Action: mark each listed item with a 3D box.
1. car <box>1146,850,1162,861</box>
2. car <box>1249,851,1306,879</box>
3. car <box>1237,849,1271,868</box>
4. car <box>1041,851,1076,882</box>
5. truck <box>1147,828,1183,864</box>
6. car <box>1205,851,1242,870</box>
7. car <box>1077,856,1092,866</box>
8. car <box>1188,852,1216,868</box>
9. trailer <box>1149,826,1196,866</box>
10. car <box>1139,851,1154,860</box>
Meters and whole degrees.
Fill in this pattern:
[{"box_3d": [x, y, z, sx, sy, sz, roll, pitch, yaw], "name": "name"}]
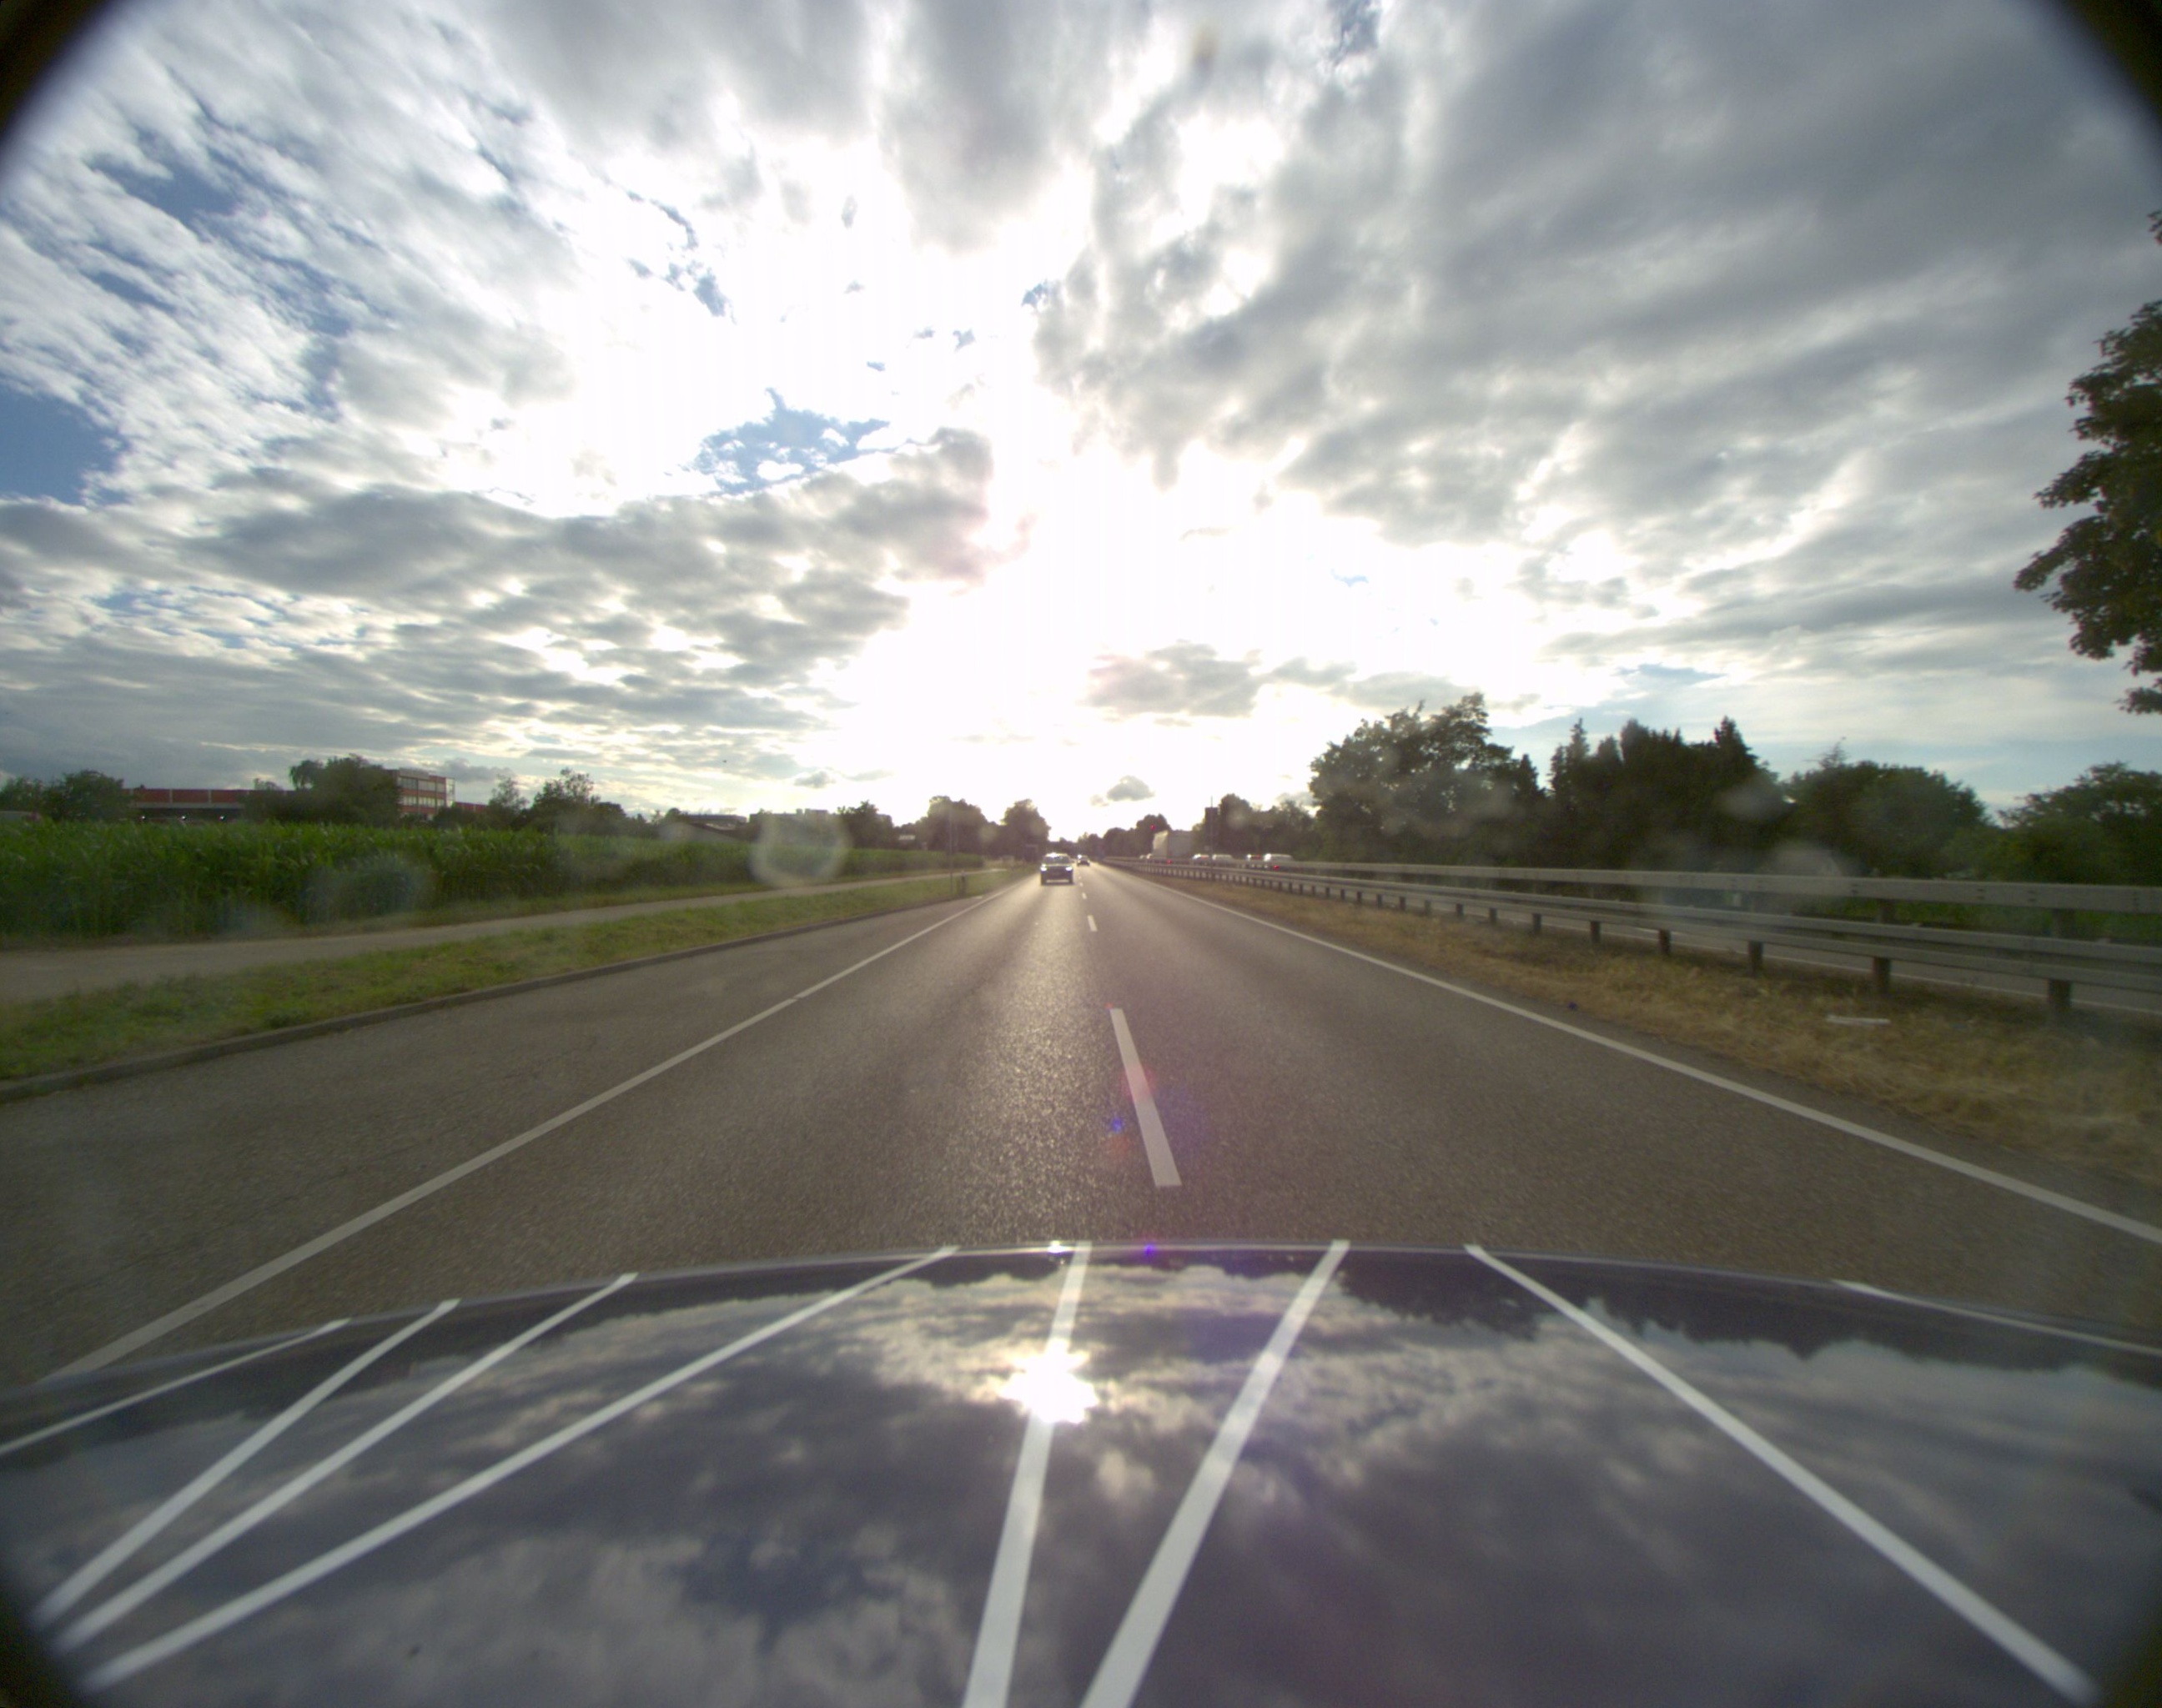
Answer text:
[{"box_3d": [10.561, 0.187, 109.830, 1.912, 1.600, 4.404, 0, 0, -1], "name": "car"}, {"box_3d": [10.969, 0.572, 42.754, 1.871, 1.469, 4.934, 0, 0, -1], "name": "car"}, {"box_3d": [14.388, 0.332, 63.520, 1.871, 1.555, 4.151, 0, 0, -1], "name": "car"}, {"box_3d": [-1.279, 0.711, 44.377, 1.849, 1.640, 4.480, -2, 0, -1], "name": "car"}, {"box_3d": [10.088, -0.925, 91.781, 3.483, 4.126, 6.048, 1, 1, 0], "name": "truck"}, {"box_3d": [11.011, 0.484, 59.019, 1.871, 1.469, 4.825, 0, 0, -1], "name": "car"}, {"box_3d": [0.521, 0.944, 107.260, 1.998, 1.320, 4.000, 1, 0, 1], "name": "car"}, {"box_3d": [10.942, 0.543, 69.030, 1.793, 1.378, 4.160, 0, 0, -1], "name": "car"}, {"box_3d": [10.141, -0.874, 85.790, 3.474, 4.126, 13.914, 1, 0, 0], "name": "trailer"}, {"box_3d": [10.260, 0.199, 119.115, 1.912, 1.420, 5.151, 0, 0, -1], "name": "car"}]
